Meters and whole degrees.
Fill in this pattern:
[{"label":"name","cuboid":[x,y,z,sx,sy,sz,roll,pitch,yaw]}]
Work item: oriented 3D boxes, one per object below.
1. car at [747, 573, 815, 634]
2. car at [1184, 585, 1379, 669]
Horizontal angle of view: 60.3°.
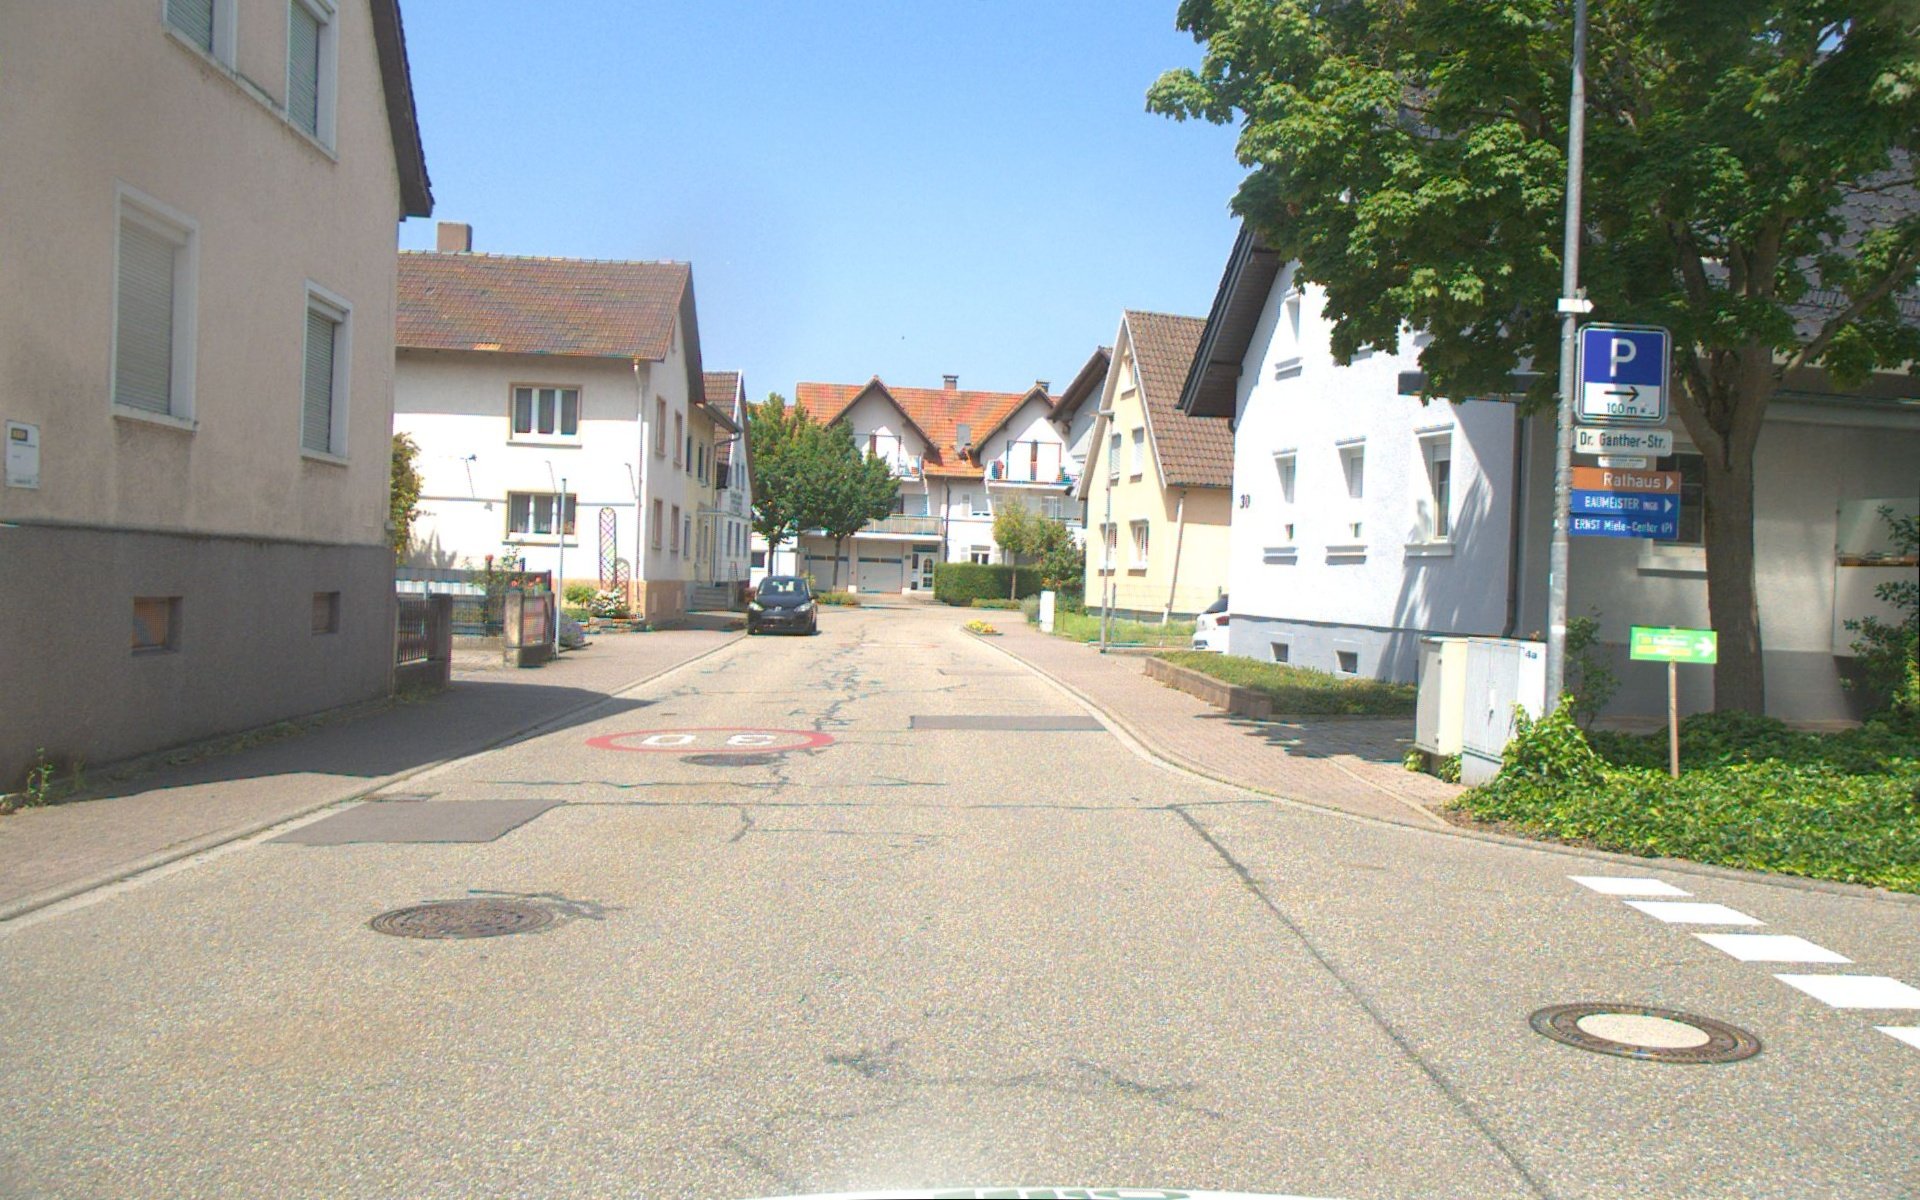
[{"label":"car","cuboid":[-4.642,0.051,43.292,1.594,1.512,3.997,1,1,-4]},{"label":"car","cuboid":[5.496,0.456,28.397,2.987,1.369,1.419,1,0,-10]}]
